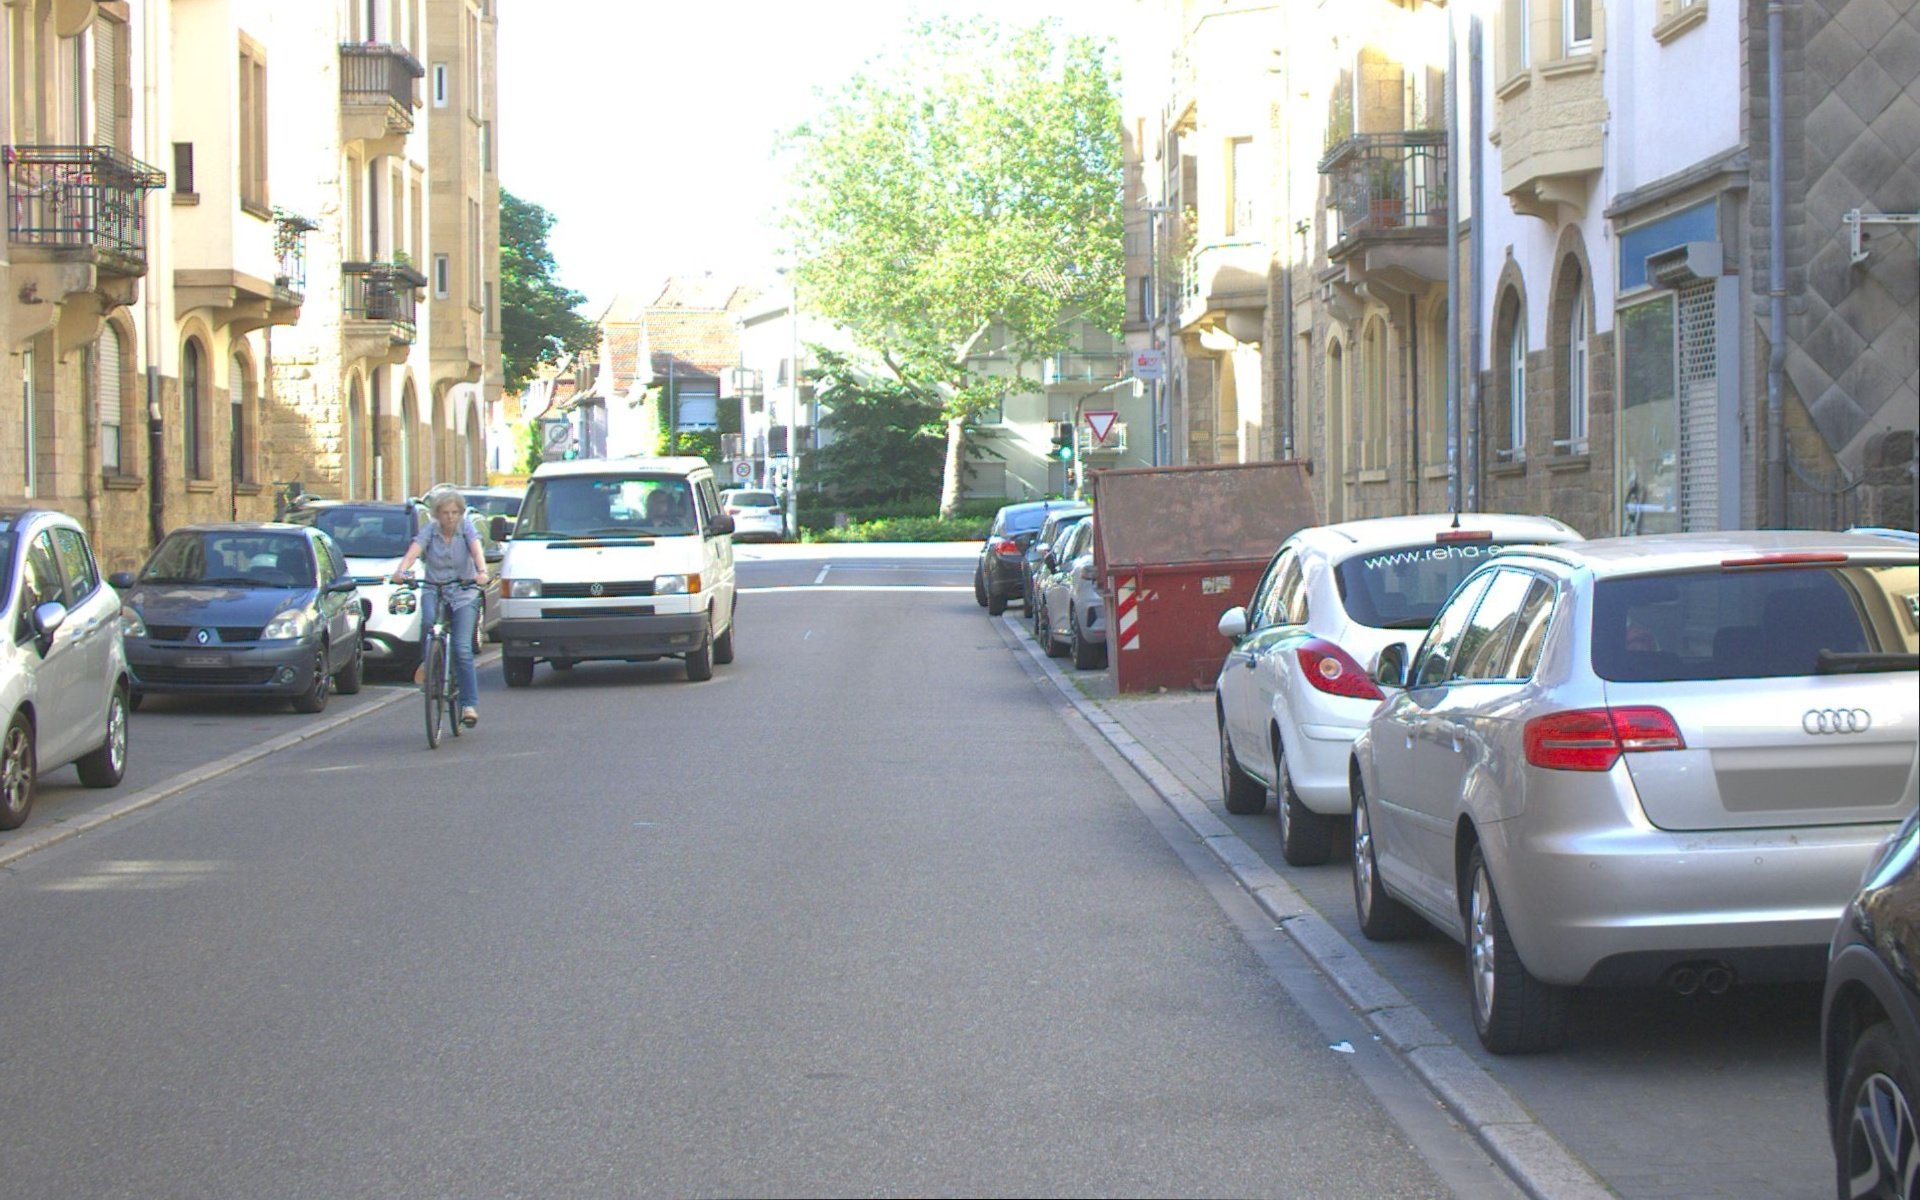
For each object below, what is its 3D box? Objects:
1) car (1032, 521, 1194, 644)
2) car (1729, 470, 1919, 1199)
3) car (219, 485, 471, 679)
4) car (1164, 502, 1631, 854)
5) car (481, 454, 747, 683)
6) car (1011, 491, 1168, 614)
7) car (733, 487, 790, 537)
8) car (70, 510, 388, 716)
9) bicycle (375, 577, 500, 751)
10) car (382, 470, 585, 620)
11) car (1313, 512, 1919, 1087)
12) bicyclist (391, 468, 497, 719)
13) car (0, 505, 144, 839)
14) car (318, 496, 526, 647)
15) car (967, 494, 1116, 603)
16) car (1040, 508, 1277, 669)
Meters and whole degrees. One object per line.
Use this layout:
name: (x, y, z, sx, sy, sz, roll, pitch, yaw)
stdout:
car: (1.640, -0.227, 37.855, 1.693, 1.250, 3.941, 0, 2, 1)
car: (2.384, 0.563, 4.988, 1.680, 1.540, 3.915, -1, 2, 1)
car: (-5.563, -0.219, 31.527, 1.714, 1.578, 4.021, 3, 2, -3)
car: (1.971, 0.278, 16.443, 1.585, 1.459, 3.712, -1, 2, -3)
car: (-3.068, -0.343, 31.366, 1.863, 1.930, 4.600, 0, 2, 1)
car: (1.587, -0.634, 43.348, 1.651, 1.437, 4.259, -1, 2, -2)
car: (-6.045, -2.658, 104.837, 1.674, 1.477, 3.522, 1, 1, -3)
car: (-5.633, 0.049, 26.876, 1.672, 1.388, 3.667, 3, 2, -1)
bicycle: (-3.473, 0.405, 22.950, 0.540, 1.072, 1.800, 0, 2, 0)
car: (-6.007, -0.746, 43.870, 1.892, 1.716, 4.726, 3, 2, -1)
car: (2.227, 0.471, 11.059, 1.652, 1.459, 4.095, -1, 2, -1)
bicyclist: (-3.462, -0.053, 23.103, 0.608, 1.659, 0.632, 0, 2, 0)
car: (-5.438, 0.291, 17.761, 1.714, 1.532, 3.724, 0, 2, -3)
car: (-5.719, -0.352, 36.954, 1.573, 1.482, 4.280, 1, 2, 0)
car: (1.096, -0.758, 48.207, 1.865, 1.457, 4.340, 0, 2, -1)
car: (1.849, -0.160, 33.084, 1.786, 1.425, 3.808, 0, 2, -4)
